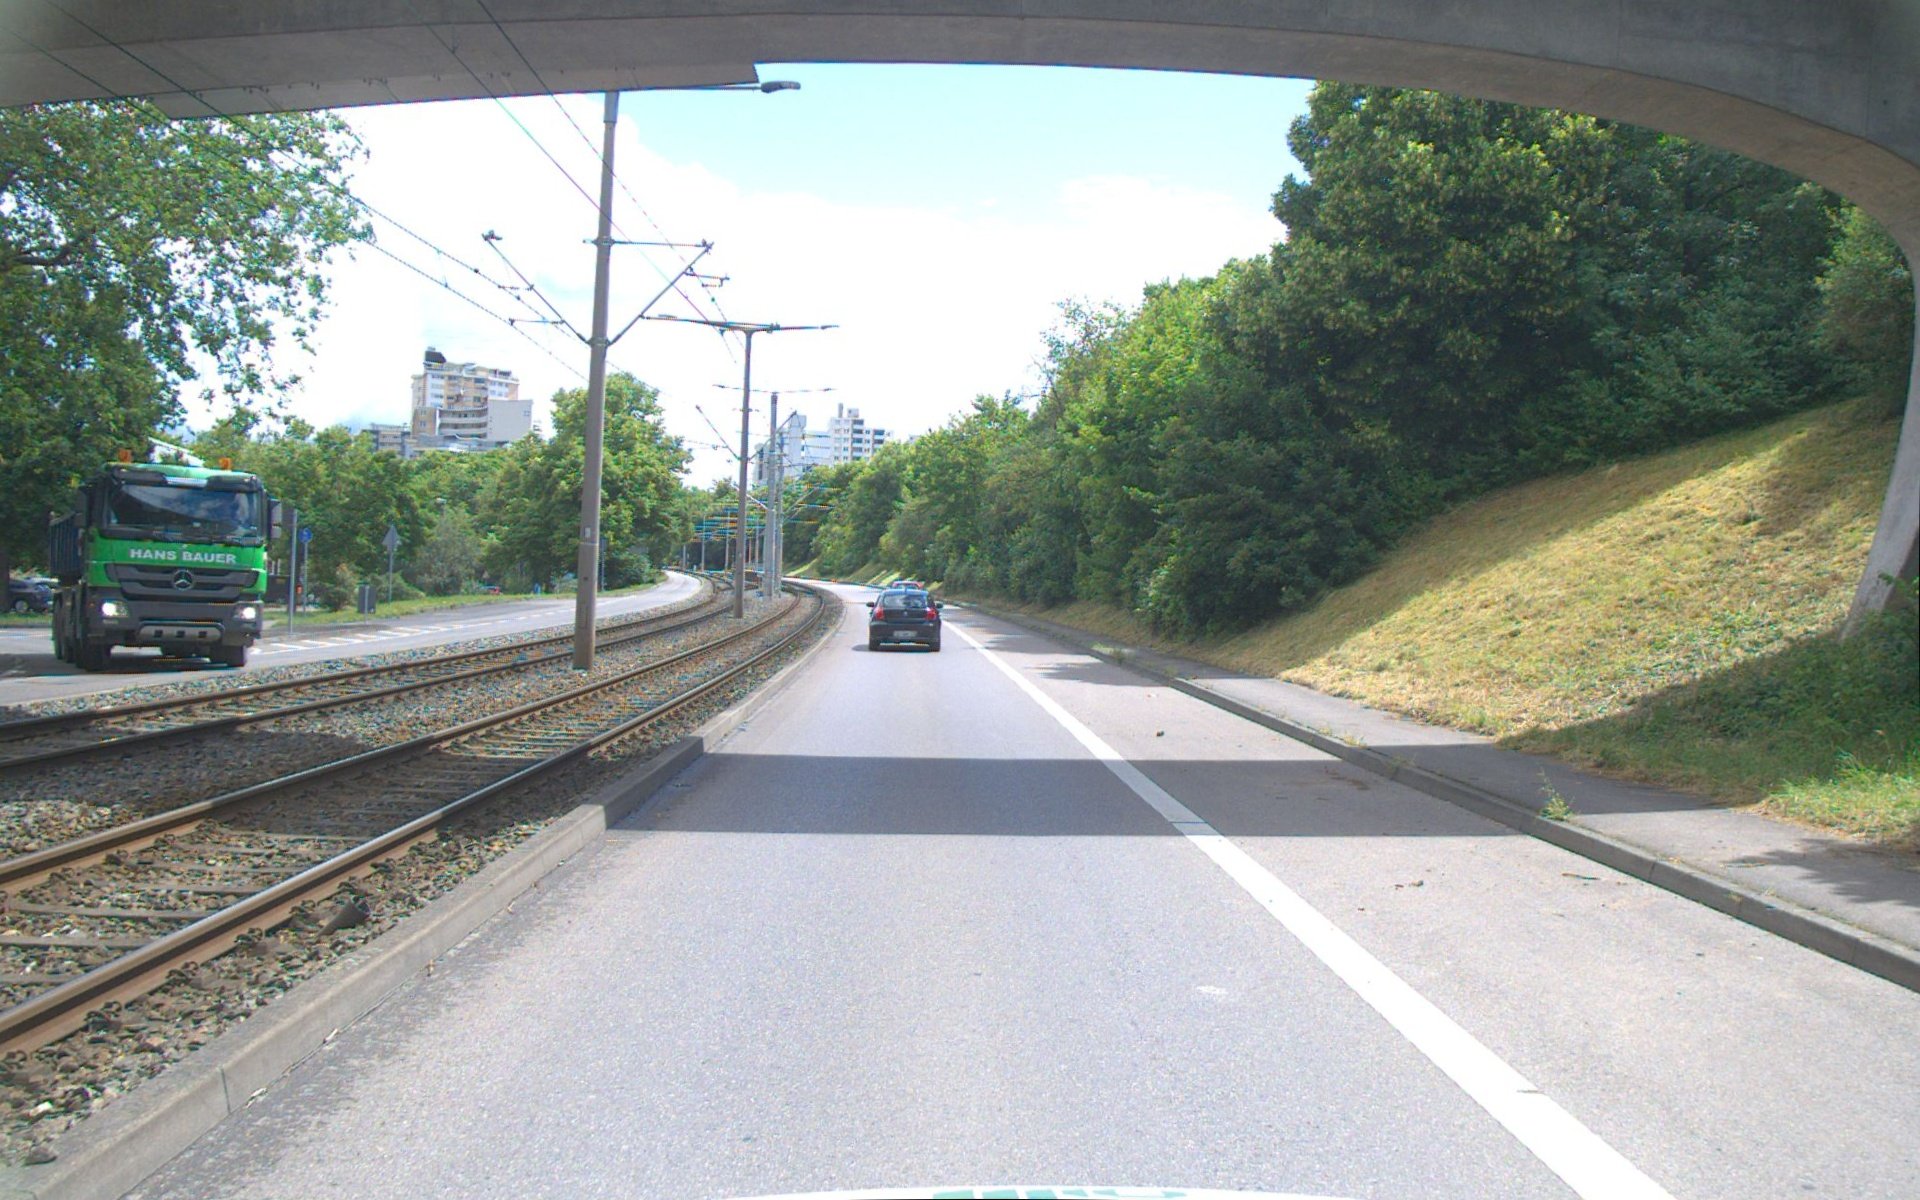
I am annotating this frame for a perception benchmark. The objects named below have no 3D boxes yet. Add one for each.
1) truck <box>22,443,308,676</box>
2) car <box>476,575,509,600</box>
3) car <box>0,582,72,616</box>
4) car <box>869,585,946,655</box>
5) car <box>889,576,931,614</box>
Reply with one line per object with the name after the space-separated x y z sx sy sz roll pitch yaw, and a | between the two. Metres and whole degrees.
-14.202 -0.676 29.069 2.848 3.377 8.917 4 -1 -36 | truck
-35.263 -0.944 124.793 1.781 1.802 3.994 1 1 -7 | car
-40.244 -0.079 70.385 3.882 1.299 1.778 3 -1 2 | car
-1.233 0.453 39.735 1.674 1.485 3.959 3 0 -1 | car
-2.142 -0.198 71.614 1.591 1.468 3.421 3 -1 0 | car
